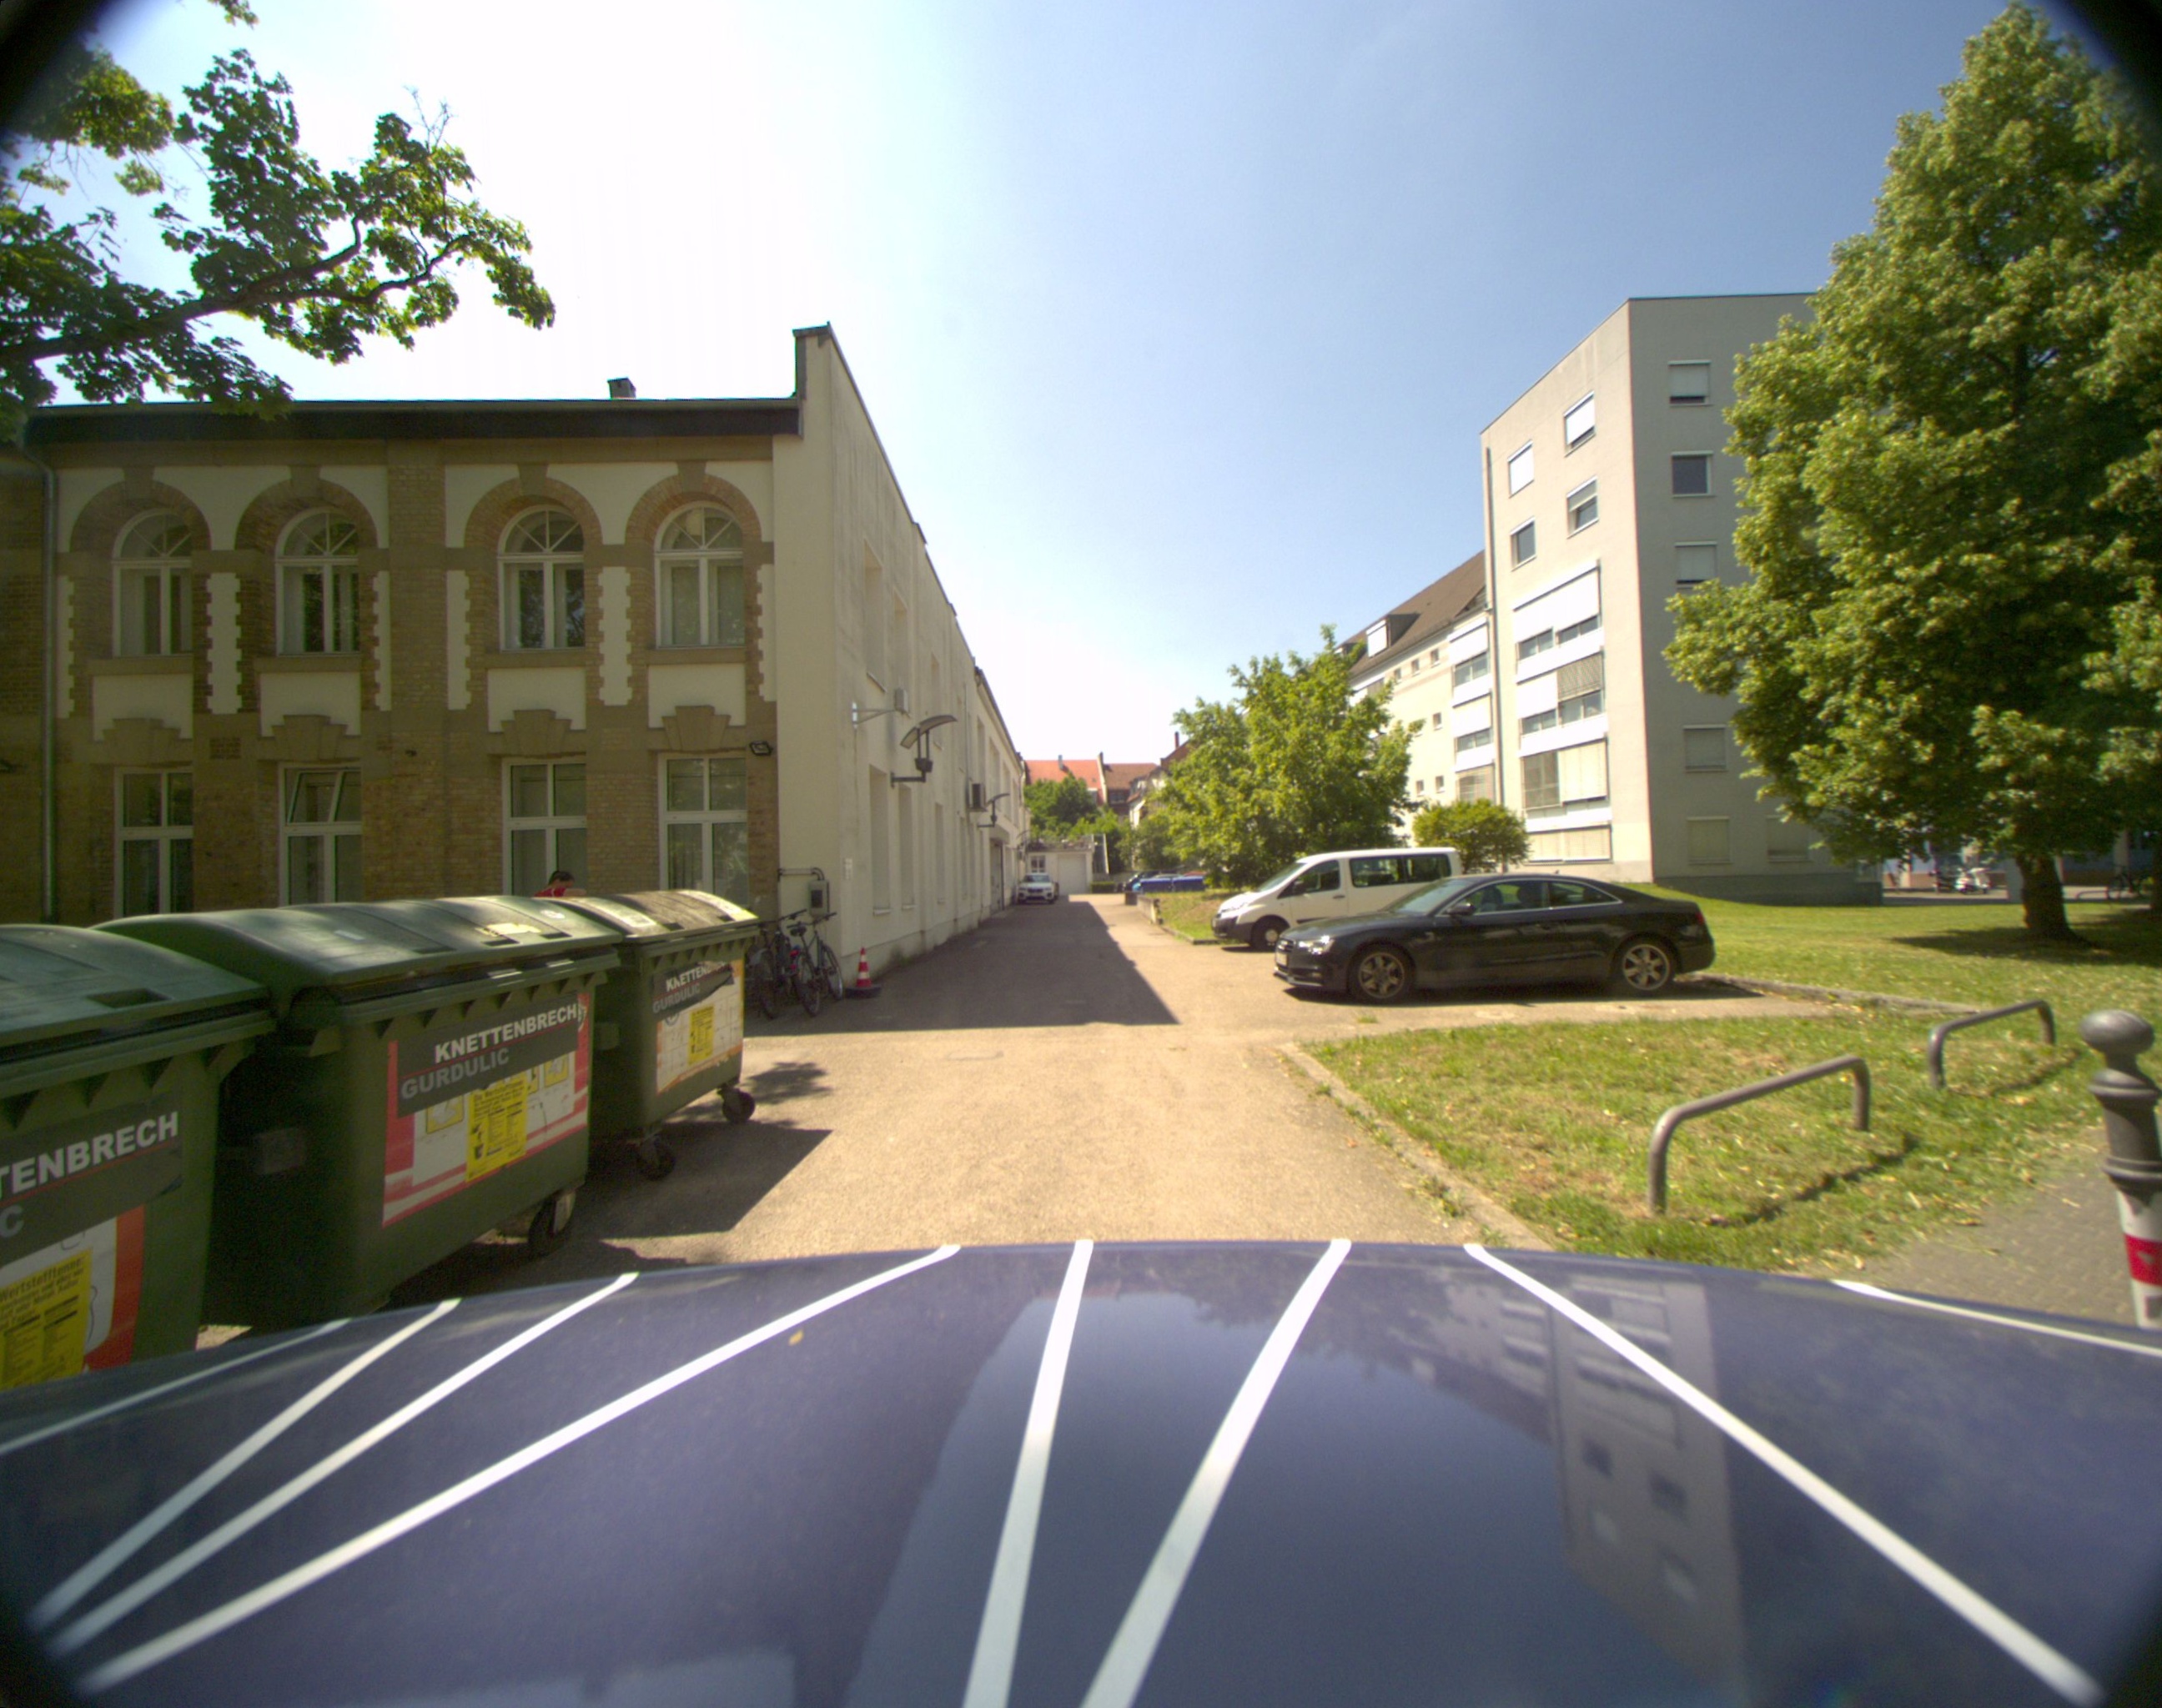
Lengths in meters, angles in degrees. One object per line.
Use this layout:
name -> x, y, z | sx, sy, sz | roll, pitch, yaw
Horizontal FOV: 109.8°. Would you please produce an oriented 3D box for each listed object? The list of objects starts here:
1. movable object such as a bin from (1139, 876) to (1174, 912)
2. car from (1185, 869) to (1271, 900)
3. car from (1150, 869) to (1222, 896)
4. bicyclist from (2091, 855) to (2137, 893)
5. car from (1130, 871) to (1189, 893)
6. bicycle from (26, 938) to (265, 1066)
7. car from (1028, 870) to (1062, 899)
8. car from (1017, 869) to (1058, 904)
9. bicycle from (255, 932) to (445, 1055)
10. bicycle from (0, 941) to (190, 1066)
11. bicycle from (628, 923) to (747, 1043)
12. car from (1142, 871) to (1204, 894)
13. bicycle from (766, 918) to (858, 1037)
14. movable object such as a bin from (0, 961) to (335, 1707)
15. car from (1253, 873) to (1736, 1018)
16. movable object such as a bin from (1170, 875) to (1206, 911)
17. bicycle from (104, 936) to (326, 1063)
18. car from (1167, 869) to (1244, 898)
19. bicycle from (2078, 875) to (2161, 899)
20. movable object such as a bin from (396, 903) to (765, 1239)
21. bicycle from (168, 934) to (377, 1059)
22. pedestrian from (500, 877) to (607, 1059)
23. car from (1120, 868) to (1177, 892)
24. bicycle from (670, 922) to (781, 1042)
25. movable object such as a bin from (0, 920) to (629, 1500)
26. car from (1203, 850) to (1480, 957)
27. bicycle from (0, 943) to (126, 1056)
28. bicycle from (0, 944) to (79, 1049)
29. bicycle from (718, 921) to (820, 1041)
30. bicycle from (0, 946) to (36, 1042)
movable object such as a bin -> 3.038, 1.601, 30.750 | 1.271, 1.380, 1.095 | -2, 0, 0
car -> 8.194, 1.660, 42.524 | 4.445, 1.559, 1.612 | -2, 0, -6
car -> 6.689, 1.812, 48.518 | 4.224, 1.559, 1.612 | -2, 0, -6
bicyclist -> 29.345, 0.568, 21.587 | 0.522, 1.038, 0.518 | -1, -3, 2
car -> 6.019, 2.129, 58.184 | 4.224, 1.559, 1.612 | -2, 0, -6
bicycle -> -10.356, 1.582, 8.529 | 0.406, 1.095, 1.826 | -2, -1, 0
car -> -2.401, 2.050, 51.764 | 2.011, 1.792, 4.727 | -2, -1, 0
car -> -2.397, 1.785, 42.961 | 2.011, 1.792, 4.727 | -2, -1, 0
bicycle -> -8.295, 1.527, 8.742 | 0.406, 1.095, 1.826 | -2, -1, 0
bicycle -> -11.119, 1.601, 8.382 | 0.406, 1.095, 1.826 | -2, -1, 0
bicycle -> -4.489, 1.421, 8.808 | 0.406, 1.095, 1.826 | -2, -1, 0
car -> 6.661, 2.053, 55.133 | 4.224, 1.559, 1.612 | -2, 0, -6
bicycle -> -3.064, 1.358, 8.816 | 0.406, 1.095, 1.826 | -2, -1, 0
movable object such as a bin -> -2.493, 1.007, 1.279 | 1.078, 1.449, 1.377 | -2, 0, 1
car -> 4.445, 0.990, 8.808 | 4.440, 1.371, 2.025 | -2, -3, 2
movable object such as a bin -> 4.336, 1.565, 30.789 | 1.271, 1.380, 1.095 | -2, 0, 0
bicycle -> -9.644, 1.562, 8.578 | 0.406, 1.095, 1.826 | -2, -1, 0
car -> 7.379, 1.717, 45.221 | 4.224, 1.559, 1.612 | -2, 0, -6
bicycle -> 29.631, 0.948, 21.574 | 1.615, 0.637, 0.735 | -2, -3, 0
movable object such as a bin -> -2.598, 1.047, 4.195 | 1.078, 1.449, 1.377 | -2, 0, 1
bicycle -> -9.071, 1.547, 8.645 | 0.406, 1.095, 1.826 | -2, -1, 0
pedestrian -> -5.342, 1.120, 7.730 | 0.552, 1.738, 0.689 | -2, 0, 1
car -> 5.365, 2.058, 61.114 | 4.224, 1.812, 2.009 | -2, 0, -6
bicycle -> -4.049, 1.408, 8.788 | 0.406, 1.095, 1.826 | -2, -1, 0
movable object such as a bin -> -2.611, 1.029, 2.751 | 1.078, 1.449, 1.377 | -2, 0, 1
car -> 5.052, 0.947, 15.317 | 4.859, 1.872, 2.068 | -2, 0, 2
bicycle -> -11.765, 1.618, 8.278 | 0.406, 1.095, 1.826 | -2, -1, 0
bicycle -> -12.301, 1.633, 8.248 | 0.406, 1.095, 1.826 | -2, -1, 0
bicycle -> -3.532, 1.393, 8.760 | 0.406, 1.095, 1.826 | -2, -1, 0
bicycle -> -12.824, 1.647, 8.252 | 0.406, 1.095, 1.826 | -2, -1, 0
